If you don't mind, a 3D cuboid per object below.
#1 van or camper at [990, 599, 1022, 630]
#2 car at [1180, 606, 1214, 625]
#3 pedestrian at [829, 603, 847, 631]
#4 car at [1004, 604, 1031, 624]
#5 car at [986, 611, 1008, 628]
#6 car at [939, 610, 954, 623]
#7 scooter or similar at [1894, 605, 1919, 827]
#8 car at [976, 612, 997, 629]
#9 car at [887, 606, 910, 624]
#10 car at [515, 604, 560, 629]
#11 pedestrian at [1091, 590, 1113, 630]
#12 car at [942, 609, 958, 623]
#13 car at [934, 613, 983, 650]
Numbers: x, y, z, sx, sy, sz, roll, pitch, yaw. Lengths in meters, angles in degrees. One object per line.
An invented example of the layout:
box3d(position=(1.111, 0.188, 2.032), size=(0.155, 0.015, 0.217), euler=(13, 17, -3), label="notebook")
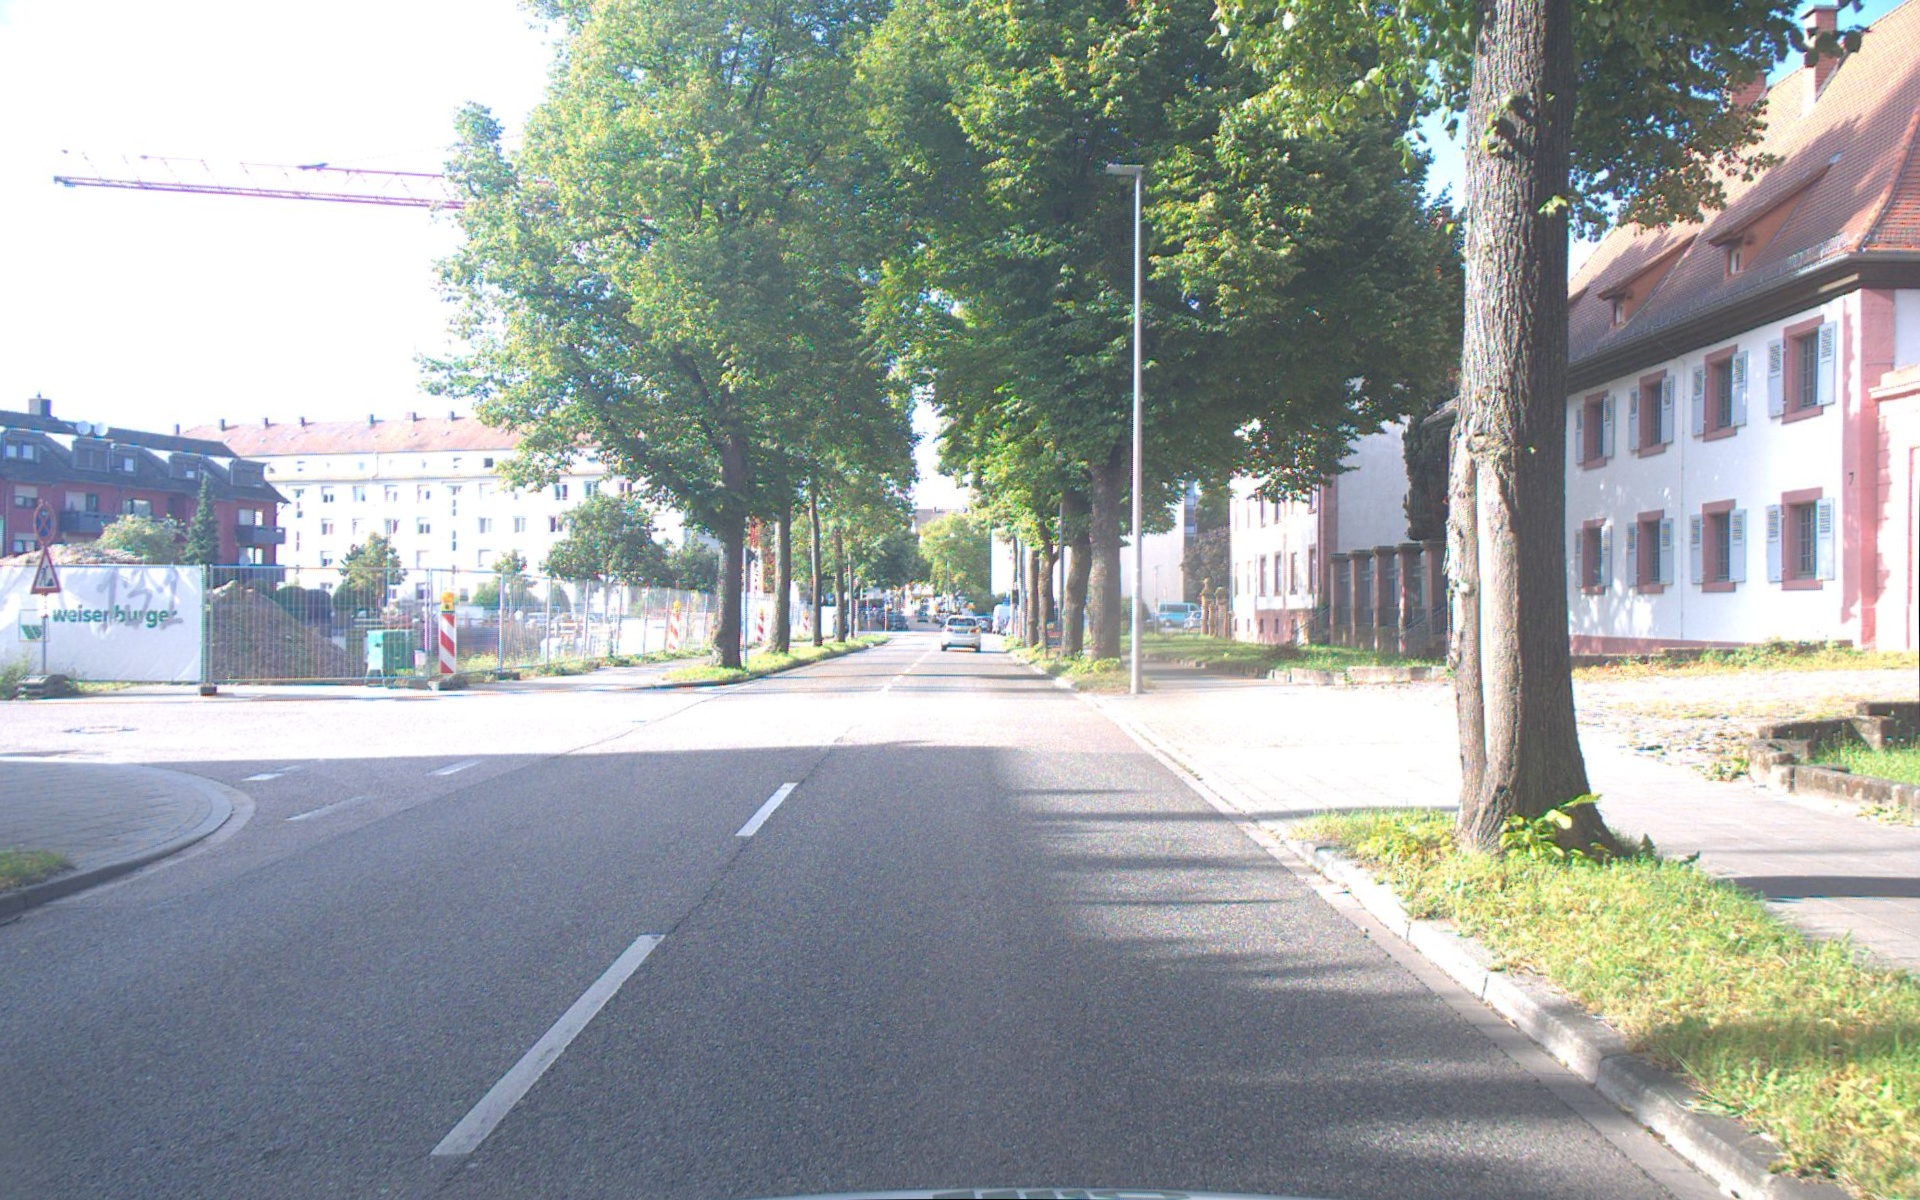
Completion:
box3d(position=(3.952, 1.234, 143.085), size=(2.166, 2.653, 5.367), euler=(0, 0, -4), label="van or camper")
box3d(position=(18.908, 1.260, 132.133), size=(1.954, 1.467, 3.998), euler=(0, 0, -3), label="car")
box3d(position=(-7.823, 1.102, 105.704), size=(0.989, 1.758, 1.174), euler=(1, -2, -12), label="pedestrian")
box3d(position=(4.491, 1.106, 128.874), size=(1.974, 1.501, 4.802), euler=(-1, -1, 1), label="car")
box3d(position=(3.432, 1.815, 154.004), size=(1.953, 1.601, 3.999), euler=(0, 0, -1), label="car")
box3d(position=(-1.906, 2.341, 229.903), size=(1.952, 1.786, 4.000), euler=(1, -1, 0), label="car")
box3d(position=(5.962, 0.683, 9.353), size=(0.567, 1.314, 1.381), euler=(-2, 0, 1), label="scooter or similar")
box3d(position=(2.586, 2.028, 164.551), size=(1.953, 1.601, 3.999), euler=(0, 0, -1), label="car")
box3d(position=(-5.926, 1.429, 159.374), size=(1.955, 1.668, 3.994), euler=(0, 0, -6), label="car")
box3d(position=(-35.396, 1.339, 138.670), size=(1.951, 2.049, 4.003), euler=(0, 0, 15), label="car")
box3d(position=(5.886, 0.425, 68.676), size=(0.797, 1.618, 0.769), euler=(-2, -1, -1), label="pedestrian")
box3d(position=(-1.326, 2.106, 217.796), size=(1.952, 1.786, 4.000), euler=(1, -1, 0), label="car")
box3d(position=(-0.090, 1.405, 74.502), size=(1.954, 1.582, 4.271), euler=(1, -1, -3), label="car")
